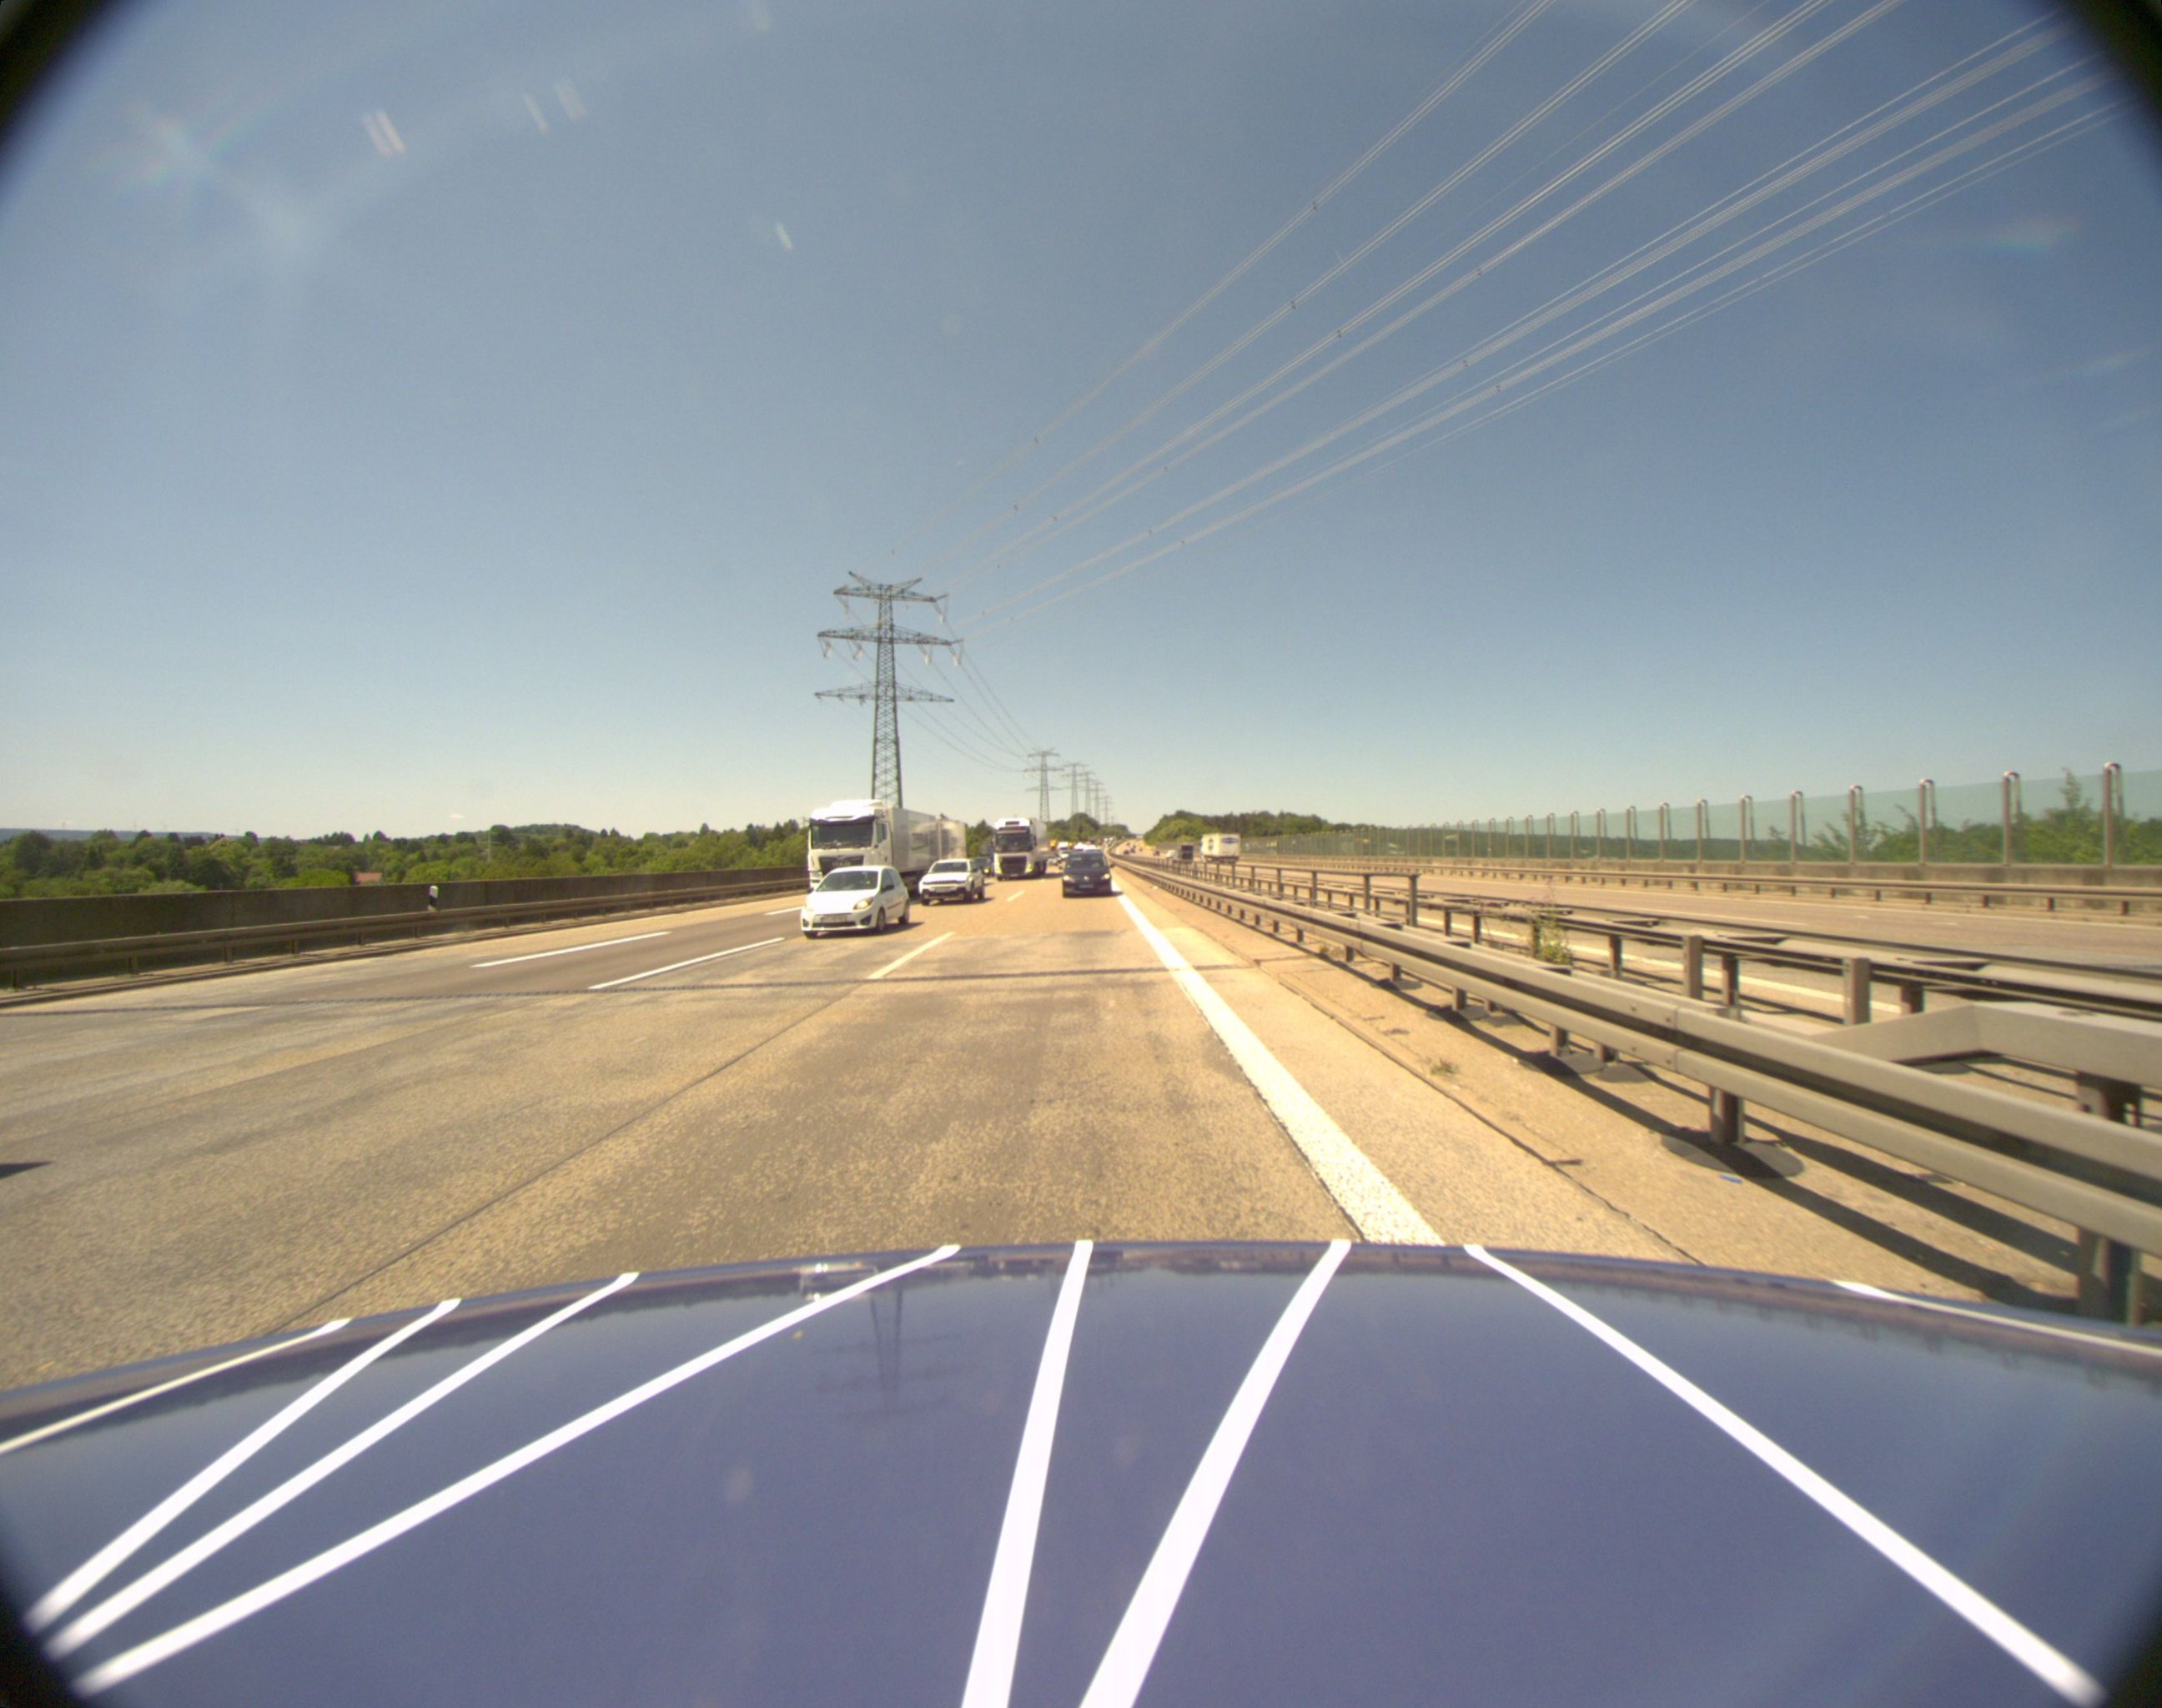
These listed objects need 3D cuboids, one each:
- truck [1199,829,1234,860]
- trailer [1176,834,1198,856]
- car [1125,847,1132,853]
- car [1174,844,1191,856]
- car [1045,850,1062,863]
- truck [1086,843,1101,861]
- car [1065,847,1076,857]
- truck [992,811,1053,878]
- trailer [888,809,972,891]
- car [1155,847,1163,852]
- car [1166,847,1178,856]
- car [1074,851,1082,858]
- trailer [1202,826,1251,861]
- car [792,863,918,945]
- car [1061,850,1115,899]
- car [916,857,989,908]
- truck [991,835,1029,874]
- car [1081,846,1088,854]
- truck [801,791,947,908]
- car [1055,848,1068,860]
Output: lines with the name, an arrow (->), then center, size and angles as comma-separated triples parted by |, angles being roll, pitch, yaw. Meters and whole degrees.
truck -> 19.151, -1.364, 107.767 | 4.016, 4.204, 4.858 | -1, 1, 0
trailer -> 14.013, -1.179, 100.626 | 2.171, 2.761, 5.375 | 2, 1, 1
car -> 14.158, -1.215, 224.800 | 1.796, 1.563, 3.999 | -3, 1, 1
car -> 14.089, -0.599, 105.521 | 1.875, 1.616, 4.628 | 0, 1, 1
car -> -3.482, 0.294, 96.530 | 1.821, 1.569, 3.999 | -3, 1, 1
truck -> 2.097, -0.314, 124.520 | 2.309, 2.789, 5.109 | -3, 1, 1
car -> -1.862, -0.394, 133.378 | 1.821, 1.569, 3.999 | -3, 1, 1
truck -> -3.874, -0.629, 54.207 | 2.717, 4.015, 14.255 | -3, 0, 1
trailer -> -7.979, -0.239, 41.336 | 2.752, 3.918, 7.773 | -3, 1, 1
car -> 21.064, -1.254, 205.601 | 1.656, 1.454, 3.541 | 0, 1, 1
car -> 17.313, -0.501, 145.086 | 1.753, 1.686, 4.384 | 0, 1, 1
car -> -0.727, 0.145, 175.633 | 1.821, 1.569, 3.999 | -3, 1, 1
trailer -> 18.997, -1.331, 100.457 | 3.999, 4.211, 14.039 | -1, 0, 1
car -> -5.001, 1.038, 17.341 | 1.659, 1.502, 3.825 | -3, 1, 0
car -> 0.287, 0.691, 28.074 | 1.748, 1.569, 3.999 | -3, 1, 1
car -> -4.478, 0.961, 26.984 | 1.776, 1.521, 3.851 | -3, 1, 1
truck -> -7.707, -0.025, 83.824 | 2.840, 3.858, 11.272 | -3, 1, 0
car -> 0.964, -1.131, 208.133 | 1.998, 2.002, 3.999 | -3, 1, 1
truck -> -8.097, -0.185, 31.752 | 2.695, 3.907, 11.296 | -3, 0, 1
car -> -2.870, 0.000, 112.579 | 1.821, 1.569, 3.999 | -3, 1, 1
